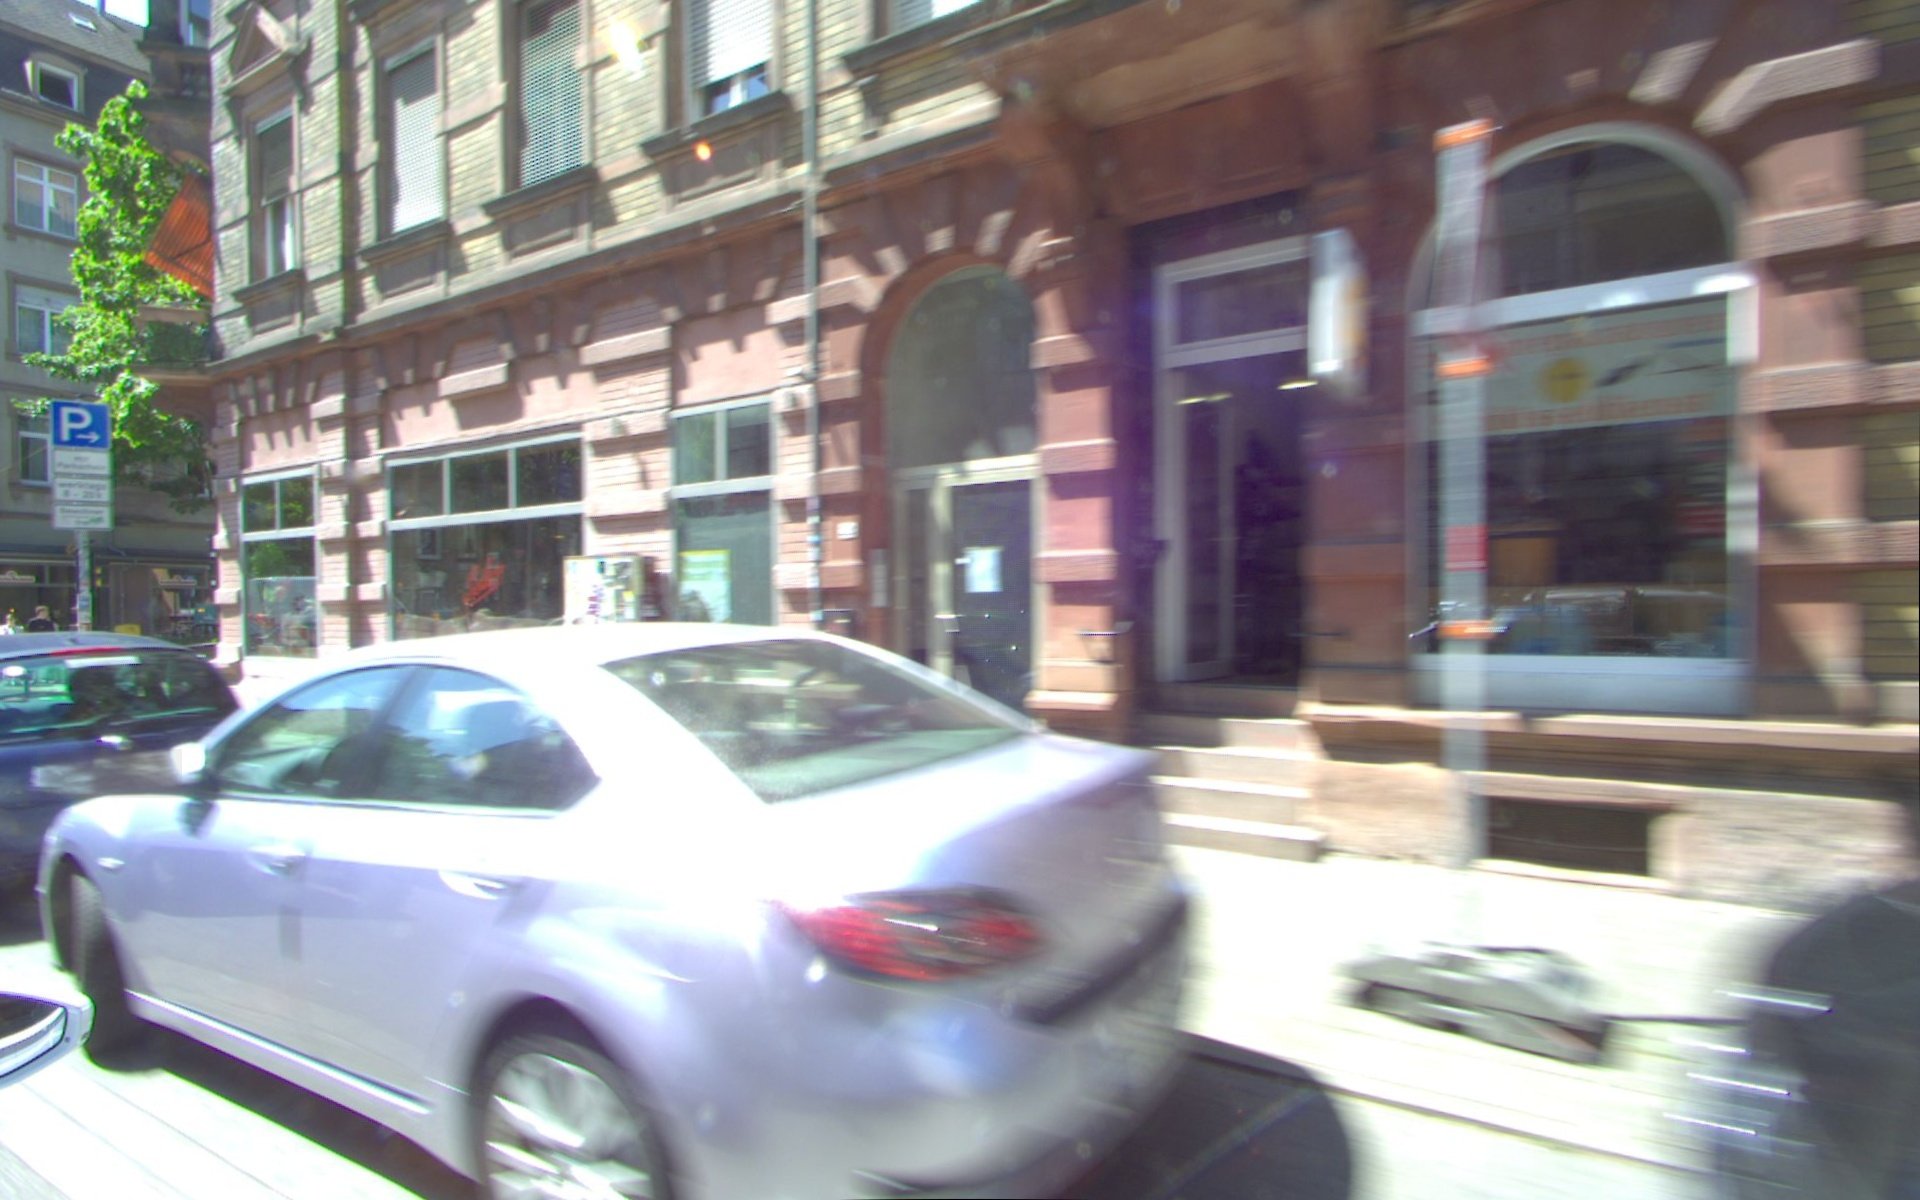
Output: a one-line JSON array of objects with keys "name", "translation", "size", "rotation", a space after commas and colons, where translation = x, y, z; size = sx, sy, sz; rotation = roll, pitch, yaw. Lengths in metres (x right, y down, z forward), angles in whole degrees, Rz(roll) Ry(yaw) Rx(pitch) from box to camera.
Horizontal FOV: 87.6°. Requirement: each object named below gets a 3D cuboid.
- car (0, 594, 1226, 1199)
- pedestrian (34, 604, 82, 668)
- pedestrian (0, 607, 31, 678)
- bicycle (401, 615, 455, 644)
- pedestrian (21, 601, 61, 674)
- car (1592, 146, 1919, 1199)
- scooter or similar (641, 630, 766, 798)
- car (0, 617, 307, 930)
[{"name": "car", "translation": [-1.514, 0.741, 3.463], "size": [4.419, 1.451, 1.722], "rotation": [-1, 0, 31]}, {"name": "pedestrian", "translation": [-23.672, 0.939, 26.295], "size": [0.634, 1.645, 0.799], "rotation": [0, 0, 33]}, {"name": "pedestrian", "translation": [-23.218, 1.029, 24.398], "size": [0.415, 1.669, 0.701], "rotation": [3, 4, 24]}, {"name": "bicycle", "translation": [-19.039, 1.049, 35.896], "size": [0.497, 1.010, 1.722], "rotation": [2, 1, 28]}, {"name": "pedestrian", "translation": [-23.025, 0.928, 25.093], "size": [0.463, 1.794, 0.575], "rotation": [3, 4, 24]}, {"name": "car", "translation": [2.882, 0.538, 0.493], "size": [4.274, 1.790, 1.821], "rotation": [-1, 1, 31]}, {"name": "scooter or similar", "translation": [-2.000, 0.833, 7.726], "size": [1.257, 1.192, 0.291], "rotation": [0, 0, 42]}, {"name": "car", "translation": [-5.828, 0.852, 6.131], "size": [3.606, 1.451, 1.624], "rotation": [-1, 1, 31]}]
